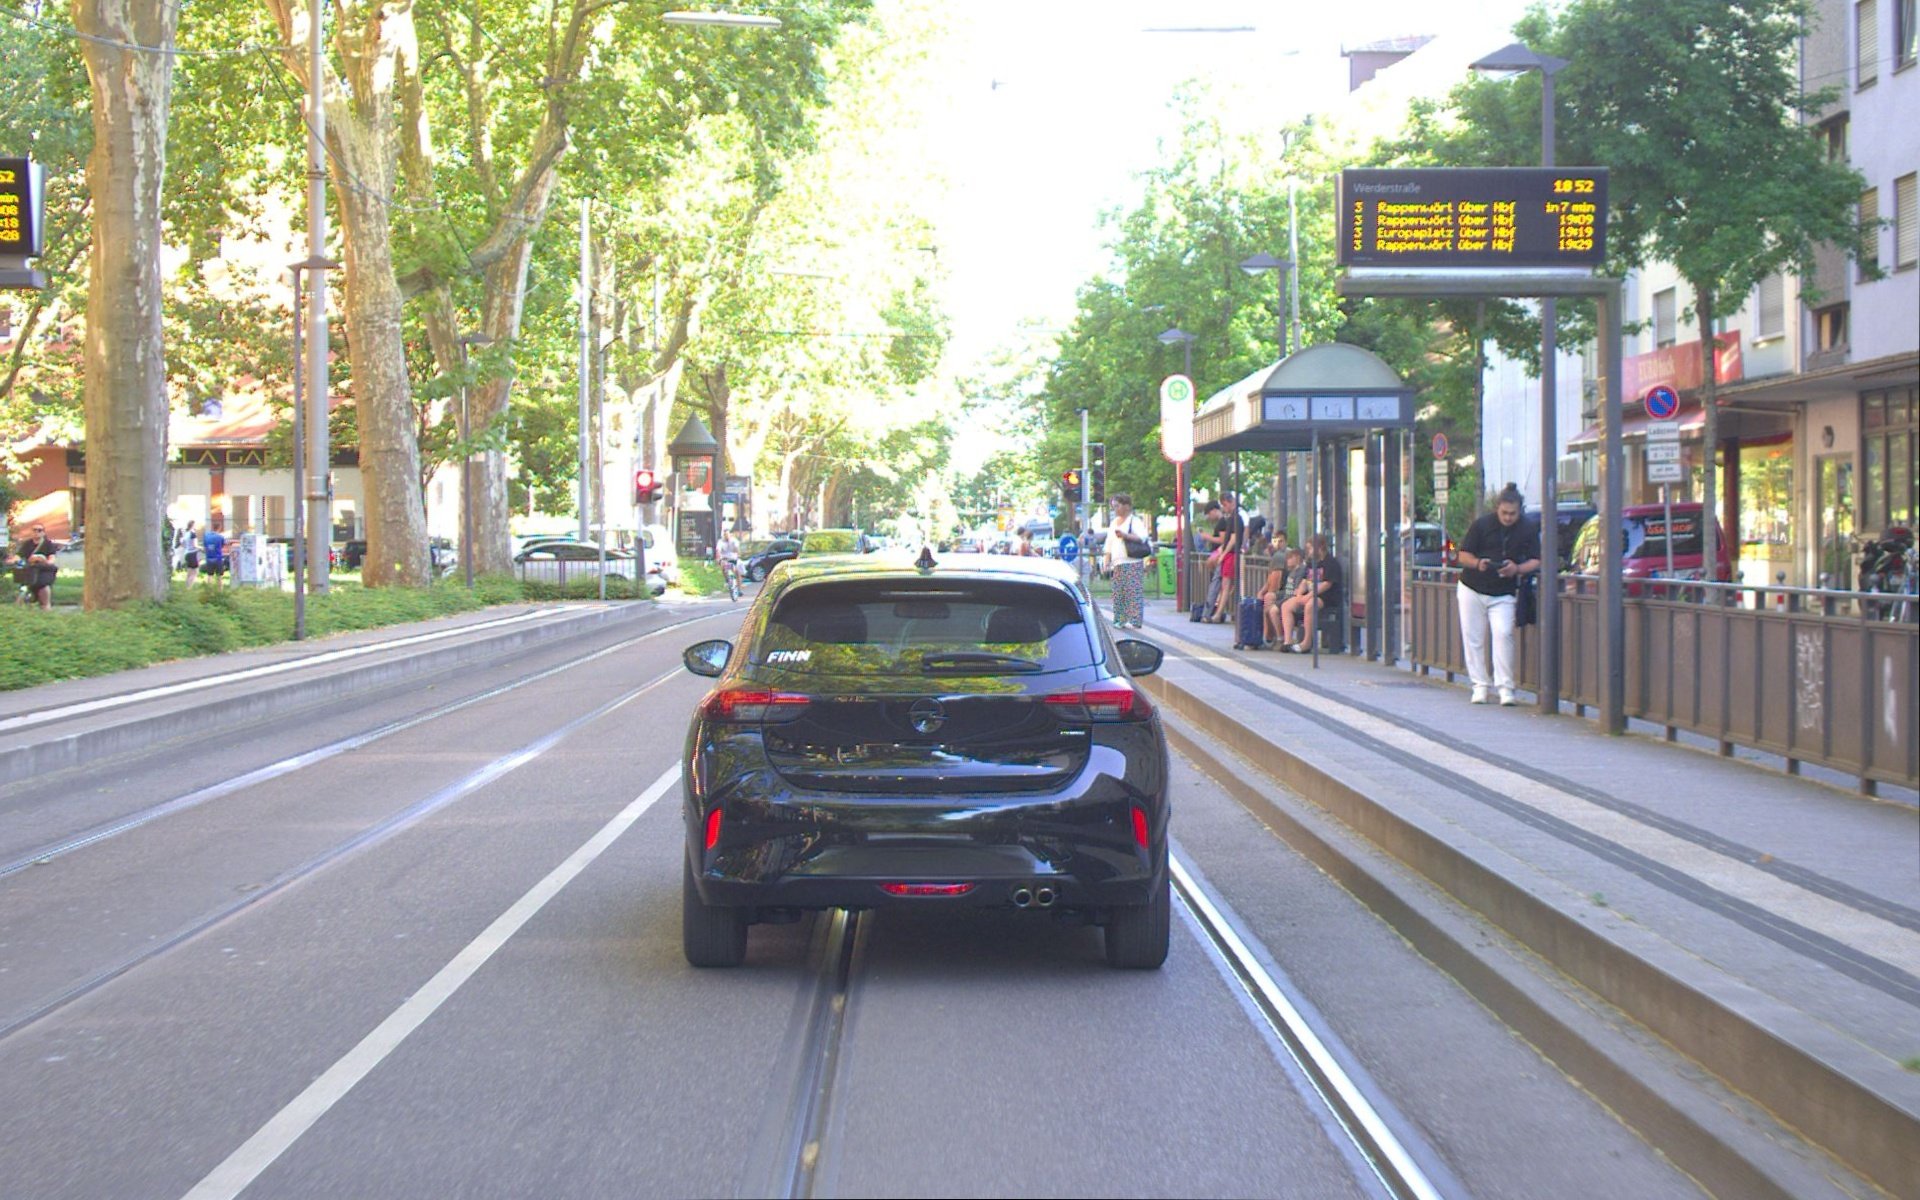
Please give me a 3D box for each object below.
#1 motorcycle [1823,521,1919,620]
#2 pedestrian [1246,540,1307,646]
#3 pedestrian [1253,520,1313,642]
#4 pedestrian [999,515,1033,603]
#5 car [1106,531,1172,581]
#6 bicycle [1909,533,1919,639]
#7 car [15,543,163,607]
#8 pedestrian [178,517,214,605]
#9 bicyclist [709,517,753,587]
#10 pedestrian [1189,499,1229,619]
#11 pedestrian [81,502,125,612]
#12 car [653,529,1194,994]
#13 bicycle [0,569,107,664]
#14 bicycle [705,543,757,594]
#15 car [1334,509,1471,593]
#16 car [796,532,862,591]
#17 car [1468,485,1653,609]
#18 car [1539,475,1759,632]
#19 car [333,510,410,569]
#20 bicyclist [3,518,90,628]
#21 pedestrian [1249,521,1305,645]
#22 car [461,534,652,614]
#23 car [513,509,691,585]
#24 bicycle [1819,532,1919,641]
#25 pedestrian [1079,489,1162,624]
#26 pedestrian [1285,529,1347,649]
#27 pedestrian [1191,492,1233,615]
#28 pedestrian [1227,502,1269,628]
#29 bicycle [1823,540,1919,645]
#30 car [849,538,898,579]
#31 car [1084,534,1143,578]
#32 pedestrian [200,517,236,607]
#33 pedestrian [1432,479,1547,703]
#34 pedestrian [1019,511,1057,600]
[{"bbox_3d":[12.271,-0.398,46.005,0.892,1.276,2.043,1,1,0],"label":"motorcycle"},{"bbox_3d":[3.311,-0.078,35.942,0.534,1.096,0.551,1,1,-5],"label":"pedestrian"},{"bbox_3d":[3.475,-0.204,37.000,0.534,1.300,0.551,1,1,-5],"label":"pedestrian"},{"bbox_3d":[1.295,-0.960,79.516,0.675,2.006,0.701,2,1,6],"label":"pedestrian"},{"bbox_3d":[6.026,-1.484,116.045,1.993,1.627,4.000,1,1,0],"label":"car"},{"bbox_3d":[10.745,-0.131,36.007,0.597,1.132,2.205,1,1,-12],"label":"bicycle"},{"bbox_3d":[-28.083,-0.803,110.944,4.250,2.007,2.000,1,1,0],"label":"car"},{"bbox_3d":[-17.107,-0.876,76.989,0.672,1.943,0.498,2,1,-4],"label":"pedestrian"},{"bbox_3d":[-5.657,-1.184,85.007,0.941,1.697,1.153,1,1,3],"label":"bicyclist"},{"bbox_3d":[3.577,-0.591,49.394,0.531,1.703,0.596,1,1,2],"label":"pedestrian"},{"bbox_3d":[-15.345,-0.767,61.582,0.496,1.943,0.674,1,1,12],"label":"pedestrian"},{"bbox_3d":[-0.201,0.502,13.099,1.759,1.503,3.683,-1,1,-3],"label":"car"},{"bbox_3d":[-12.500,0.206,47.005,0.955,1.236,2.978,1,1,0],"label":"bicycle"},{"bbox_3d":[-5.661,-0.788,85.061,0.955,1.236,2.977,1,1,3],"label":"bicycle"},{"bbox_3d":[8.214,-0.909,64.159,1.993,1.481,4.000,1,1,0],"label":"car"},{"bbox_3d":[-3.528,-1.030,92.584,1.745,1.539,4.000,1,1,-2],"label":"car"},{"bbox_3d":[9.052,-0.795,52.120,1.993,1.791,4.000,1,1,-1],"label":"car"},{"bbox_3d":[9.011,-0.611,45.272,1.993,1.946,4.000,1,1,-1],"label":"car"},{"bbox_3d":[-20.408,-2.085,119.263,1.993,2.007,4.000,1,1,-1],"label":"car"},{"bbox_3d":[-12.487,-0.372,46.996,0.955,1.486,0.838,1,1,0],"label":"bicyclist"},{"bbox_3d":[3.360,-0.179,36.455,0.502,1.300,0.429,1,1,-5],"label":"pedestrian"},{"bbox_3d":[-8.897,-0.574,75.785,4.113,1.695,1.884,1,1,-7],"label":"car"},{"bbox_3d":[-9.029,-1.329,86.579,4.383,1.845,2.000,1,1,-7],"label":"car"},{"bbox_3d":[10.025,-0.153,37.015,0.597,1.132,2.205,1,1,-12],"label":"bicycle"},{"bbox_3d":[2.053,-0.554,43.870,0.751,1.703,0.762,1,1,34],"label":"pedestrian"},{"bbox_3d":[3.662,-0.118,35.422,0.534,1.226,0.510,1,1,-5],"label":"pedestrian"},{"bbox_3d":[3.518,-0.646,47.997,0.531,1.703,0.752,1,1,2],"label":"pedestrian"},{"bbox_3d":[4.081,-0.496,48.720,0.531,1.756,0.661,1,1,2],"label":"pedestrian"},{"bbox_3d":[10.337,-0.096,38.433,0.597,1.132,2.204,1,1,-6],"label":"bicycle"},{"bbox_3d":[-3.631,-1.737,143.427,1.993,1.687,4.000,1,1,-2],"label":"car"},{"bbox_3d":[5.730,-1.647,128.766,1.993,1.627,4.000,1,1,0],"label":"car"},{"bbox_3d":[-16.411,-0.842,76.057,0.672,1.943,0.498,2,1,-4],"label":"pedestrian"},{"bbox_3d":[3.836,-0.075,24.935,0.630,1.571,0.871,2,1,0],"label":"pedestrian"},{"bbox_3d":[1.786,-1.034,78.691,0.675,2.006,0.701,2,2,11],"label":"pedestrian"}]
